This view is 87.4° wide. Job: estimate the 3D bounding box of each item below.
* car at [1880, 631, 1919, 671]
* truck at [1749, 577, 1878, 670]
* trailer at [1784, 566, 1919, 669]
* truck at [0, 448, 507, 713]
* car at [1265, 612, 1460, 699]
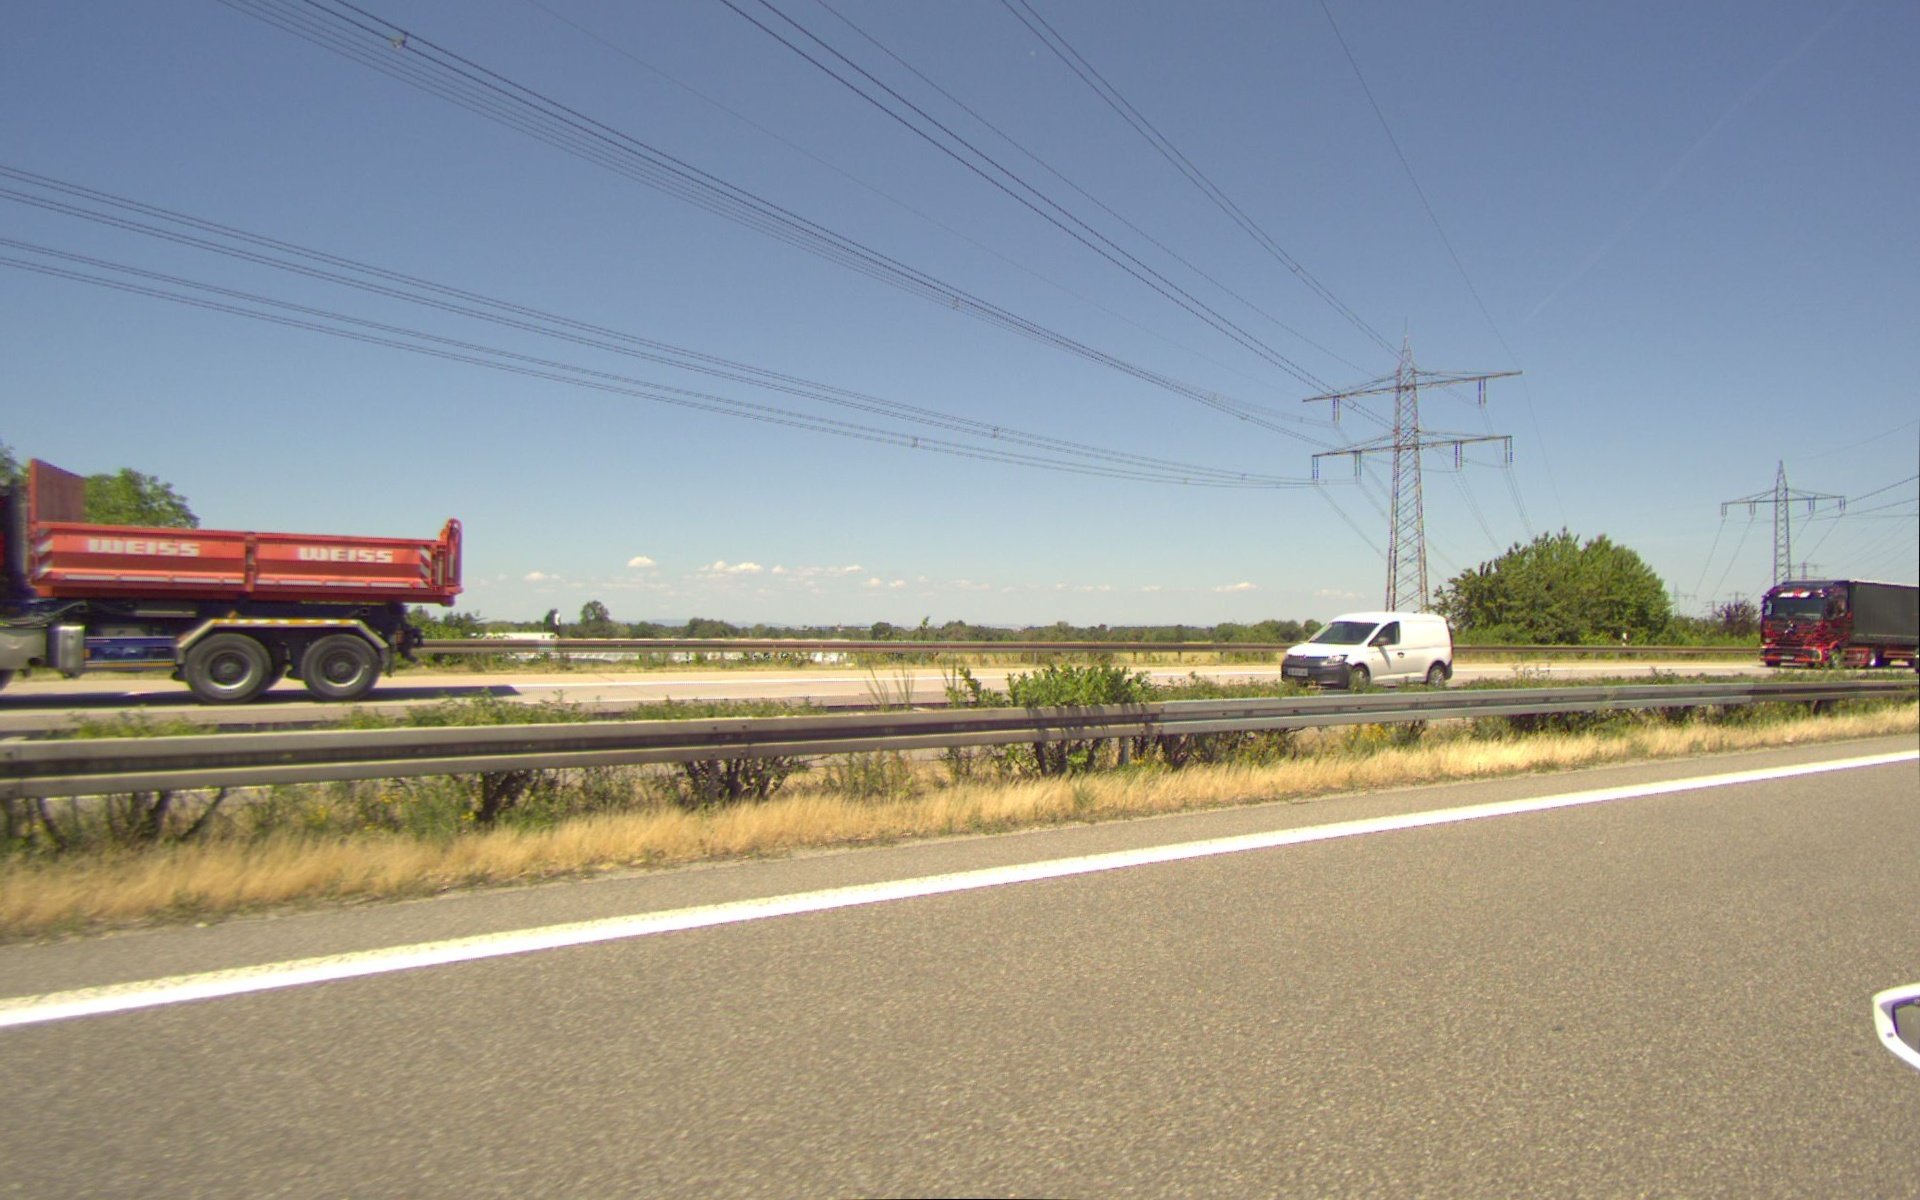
[{"bbox_3d":[42.601,2.200,44.025,4.957,1.639,1.935,1,0,-30],"label":"car"},{"bbox_3d":[39.042,1.043,45.907,5.920,4.036,2.636,1,0,-30],"label":"truck"},{"bbox_3d":[45.467,0.852,49.629,13.699,4.613,2.636,1,0,-30],"label":"trailer"},{"bbox_3d":[-11.870,-0.218,15.745,8.433,3.574,2.757,2,0,-30],"label":"truck"},{"bbox_3d":[9.322,1.214,23.199,4.317,1.797,1.961,1,0,-30],"label":"car"}]
